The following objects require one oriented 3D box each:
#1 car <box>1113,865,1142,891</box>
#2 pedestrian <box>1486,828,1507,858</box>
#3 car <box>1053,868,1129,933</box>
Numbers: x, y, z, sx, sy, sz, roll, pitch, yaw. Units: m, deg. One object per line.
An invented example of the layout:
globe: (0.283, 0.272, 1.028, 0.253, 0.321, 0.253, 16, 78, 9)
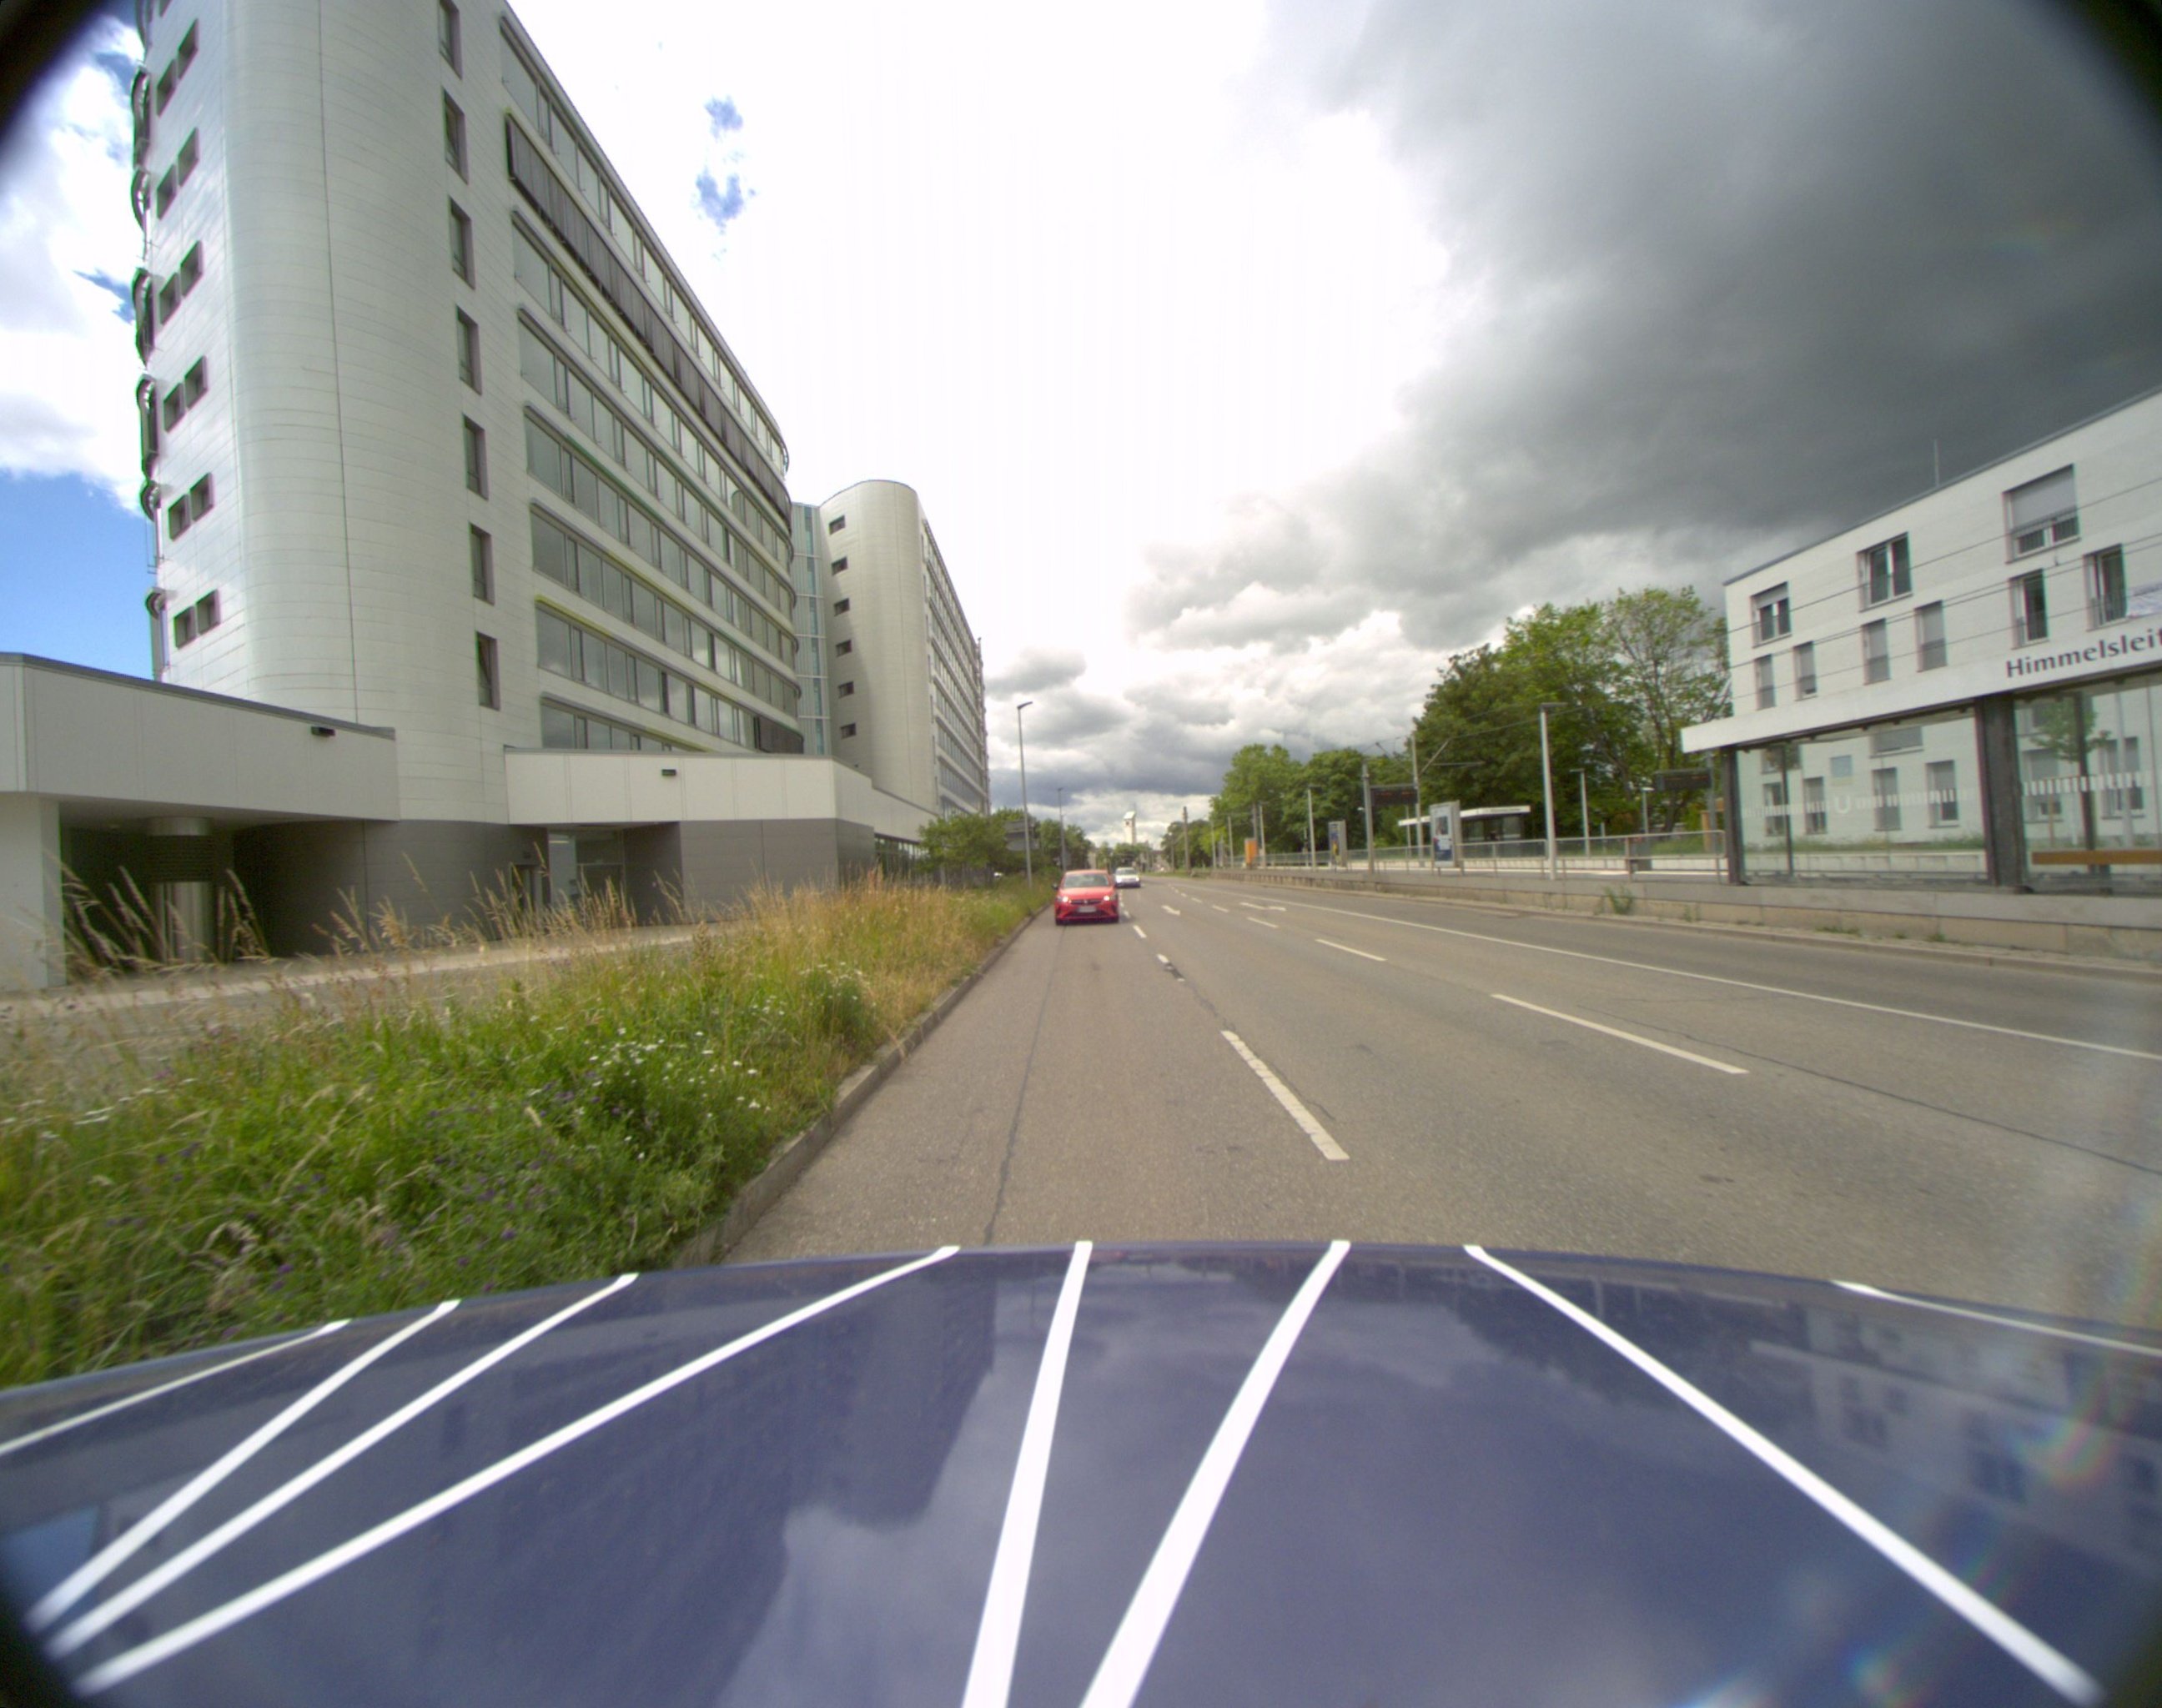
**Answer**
car: (3.171, 1.633, 52.184, 1.841, 1.586, 4.001, -3, 0, 3)
pedestrian: (22.080, -0.600, 40.367, 0.548, 1.522, 0.742, -3, 0, -44)
car: (0.306, 1.192, 21.114, 1.790, 1.453, 4.853, -3, 0, 1)
